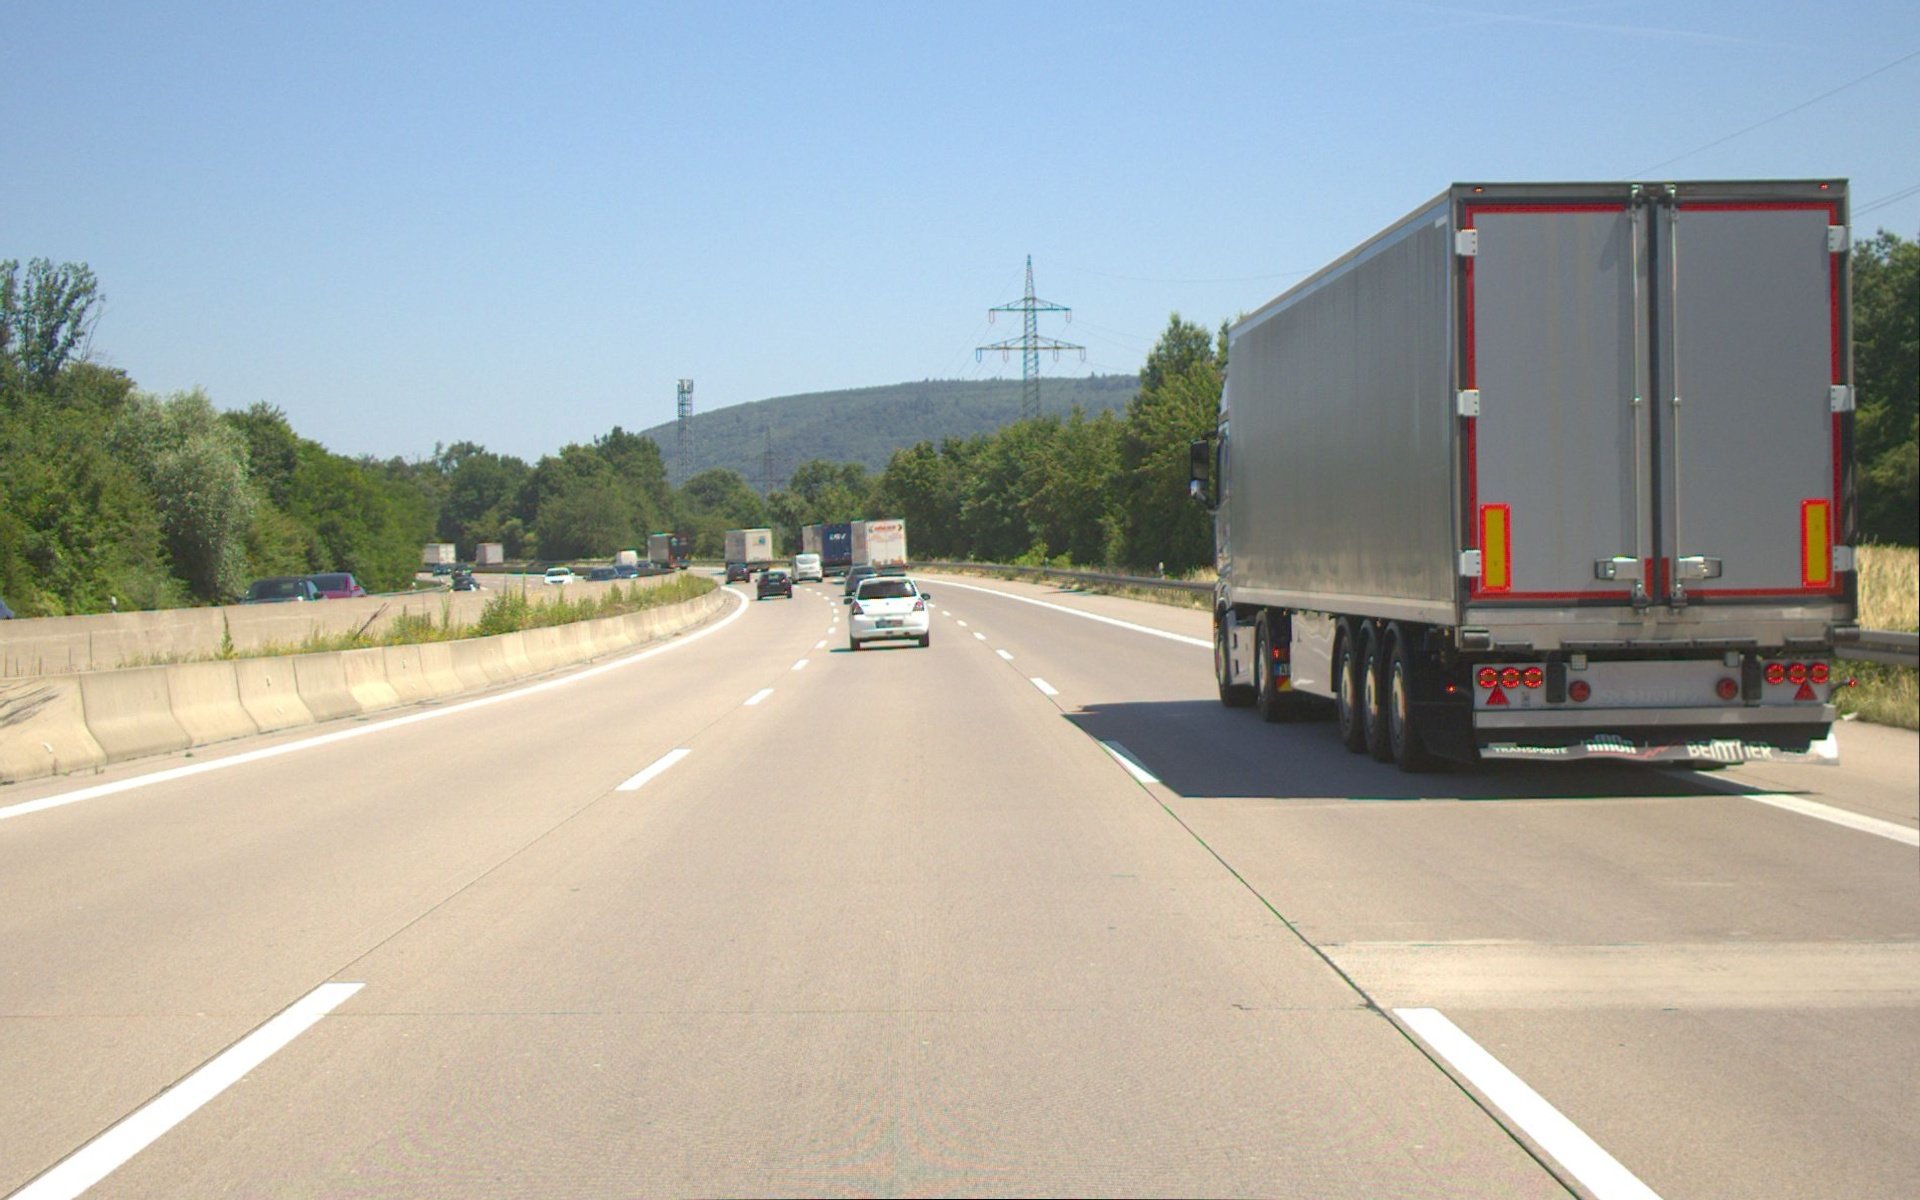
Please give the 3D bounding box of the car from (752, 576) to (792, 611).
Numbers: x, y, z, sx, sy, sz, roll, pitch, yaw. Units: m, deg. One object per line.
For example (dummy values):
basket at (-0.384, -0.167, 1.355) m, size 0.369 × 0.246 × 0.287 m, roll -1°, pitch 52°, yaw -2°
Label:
car at (-9.818, -0.359, 179.042) m, size 2.022 × 1.695 × 4.001 m, roll 1°, pitch 1°, yaw -3°

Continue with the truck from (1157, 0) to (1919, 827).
truck at (4.245, -1.733, 30.582) m, size 3.577 × 5.767 × 18.249 m, roll 0°, pitch 2°, yaw -1°

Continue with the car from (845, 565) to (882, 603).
car at (-4.883, -0.810, 173.792) m, size 1.610 × 1.719 × 3.574 m, roll -4°, pitch 2°, yaw -4°

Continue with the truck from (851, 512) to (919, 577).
truck at (-4.989, -3.695, 225.636) m, size 3.820 × 3.876 × 14.155 m, roll -4°, pitch 2°, yaw -3°

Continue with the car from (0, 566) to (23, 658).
car at (-18.159, 0.237, 61.498) m, size 1.703 × 1.652 × 4.407 m, roll -1°, pitch 1°, yaw -2°

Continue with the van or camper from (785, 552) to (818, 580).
van or camper at (-11.004, -2.376, 238.711) m, size 1.867 × 1.831 × 4.001 m, roll -4°, pitch 2°, yaw -7°

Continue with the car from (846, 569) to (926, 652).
car at (-1.566, 0.202, 73.374) m, size 1.641 × 1.656 × 3.360 m, roll 1°, pitch 2°, yaw -1°
